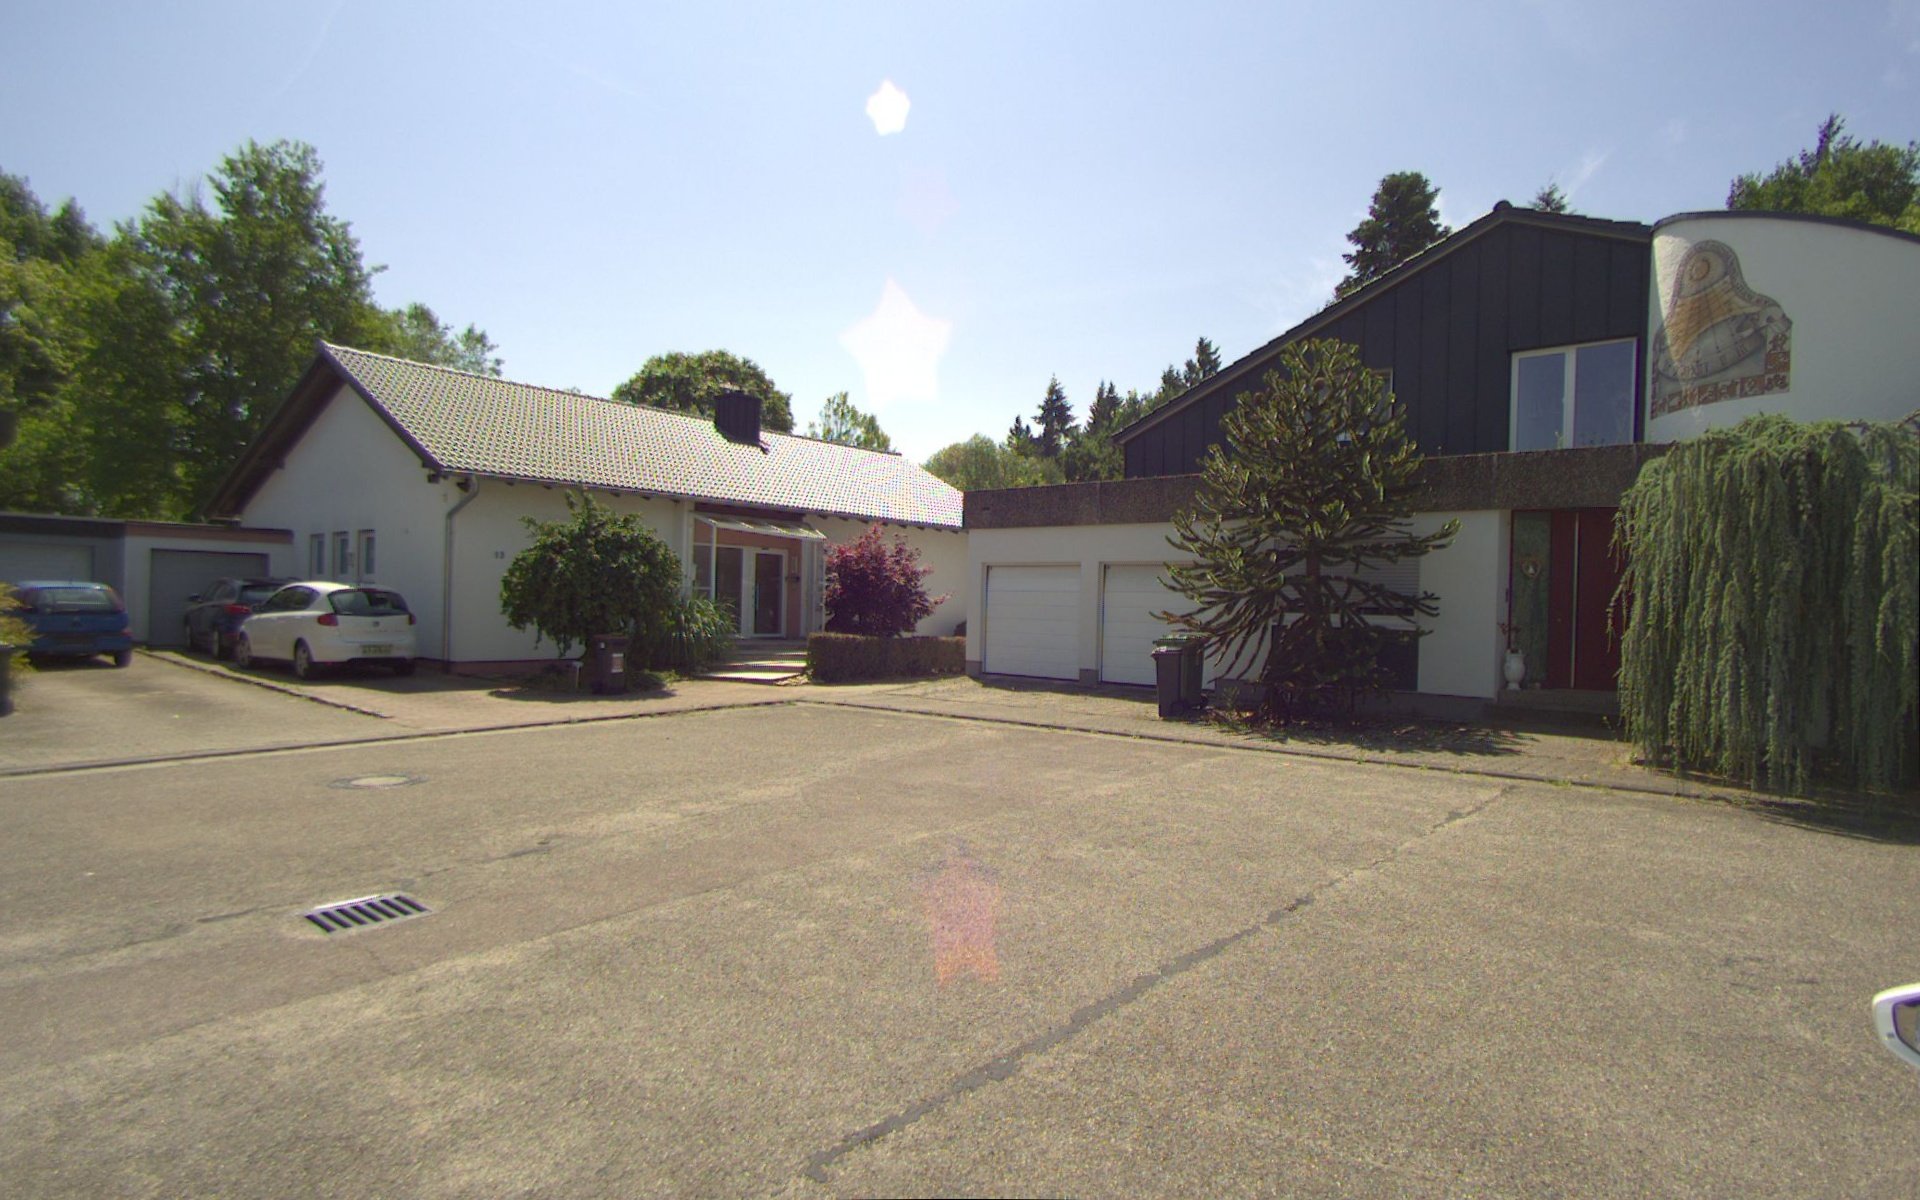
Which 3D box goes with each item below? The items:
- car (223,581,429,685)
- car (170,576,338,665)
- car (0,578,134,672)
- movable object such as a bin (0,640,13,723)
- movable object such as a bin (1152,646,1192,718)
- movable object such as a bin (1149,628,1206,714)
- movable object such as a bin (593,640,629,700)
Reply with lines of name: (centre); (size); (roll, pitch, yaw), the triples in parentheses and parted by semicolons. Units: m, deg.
car: (-11.123, 0.503, 17.554); (3.936, 1.589, 1.746); (1, 0, 37)
car: (-14.585, 0.356, 20.681); (3.940, 1.629, 1.920); (2, 1, 40)
car: (-16.231, 0.402, 17.997); (3.204, 1.474, 1.612); (3, 0, 40)
movable object such as a bin: (-10.980, 0.919, 11.277); (0.419, 0.903, 0.407); (1, 1, 32)
movable object such as a bin: (2.969, 1.135, 14.069); (0.513, 0.962, 0.389); (1, 0, 13)
movable object such as a bin: (3.205, 1.025, 14.806); (0.624, 1.219, 0.549); (1, 0, 40)
movable object such as a bin: (-5.427, 1.078, 15.616); (0.384, 0.903, 0.373); (1, 1, 39)
